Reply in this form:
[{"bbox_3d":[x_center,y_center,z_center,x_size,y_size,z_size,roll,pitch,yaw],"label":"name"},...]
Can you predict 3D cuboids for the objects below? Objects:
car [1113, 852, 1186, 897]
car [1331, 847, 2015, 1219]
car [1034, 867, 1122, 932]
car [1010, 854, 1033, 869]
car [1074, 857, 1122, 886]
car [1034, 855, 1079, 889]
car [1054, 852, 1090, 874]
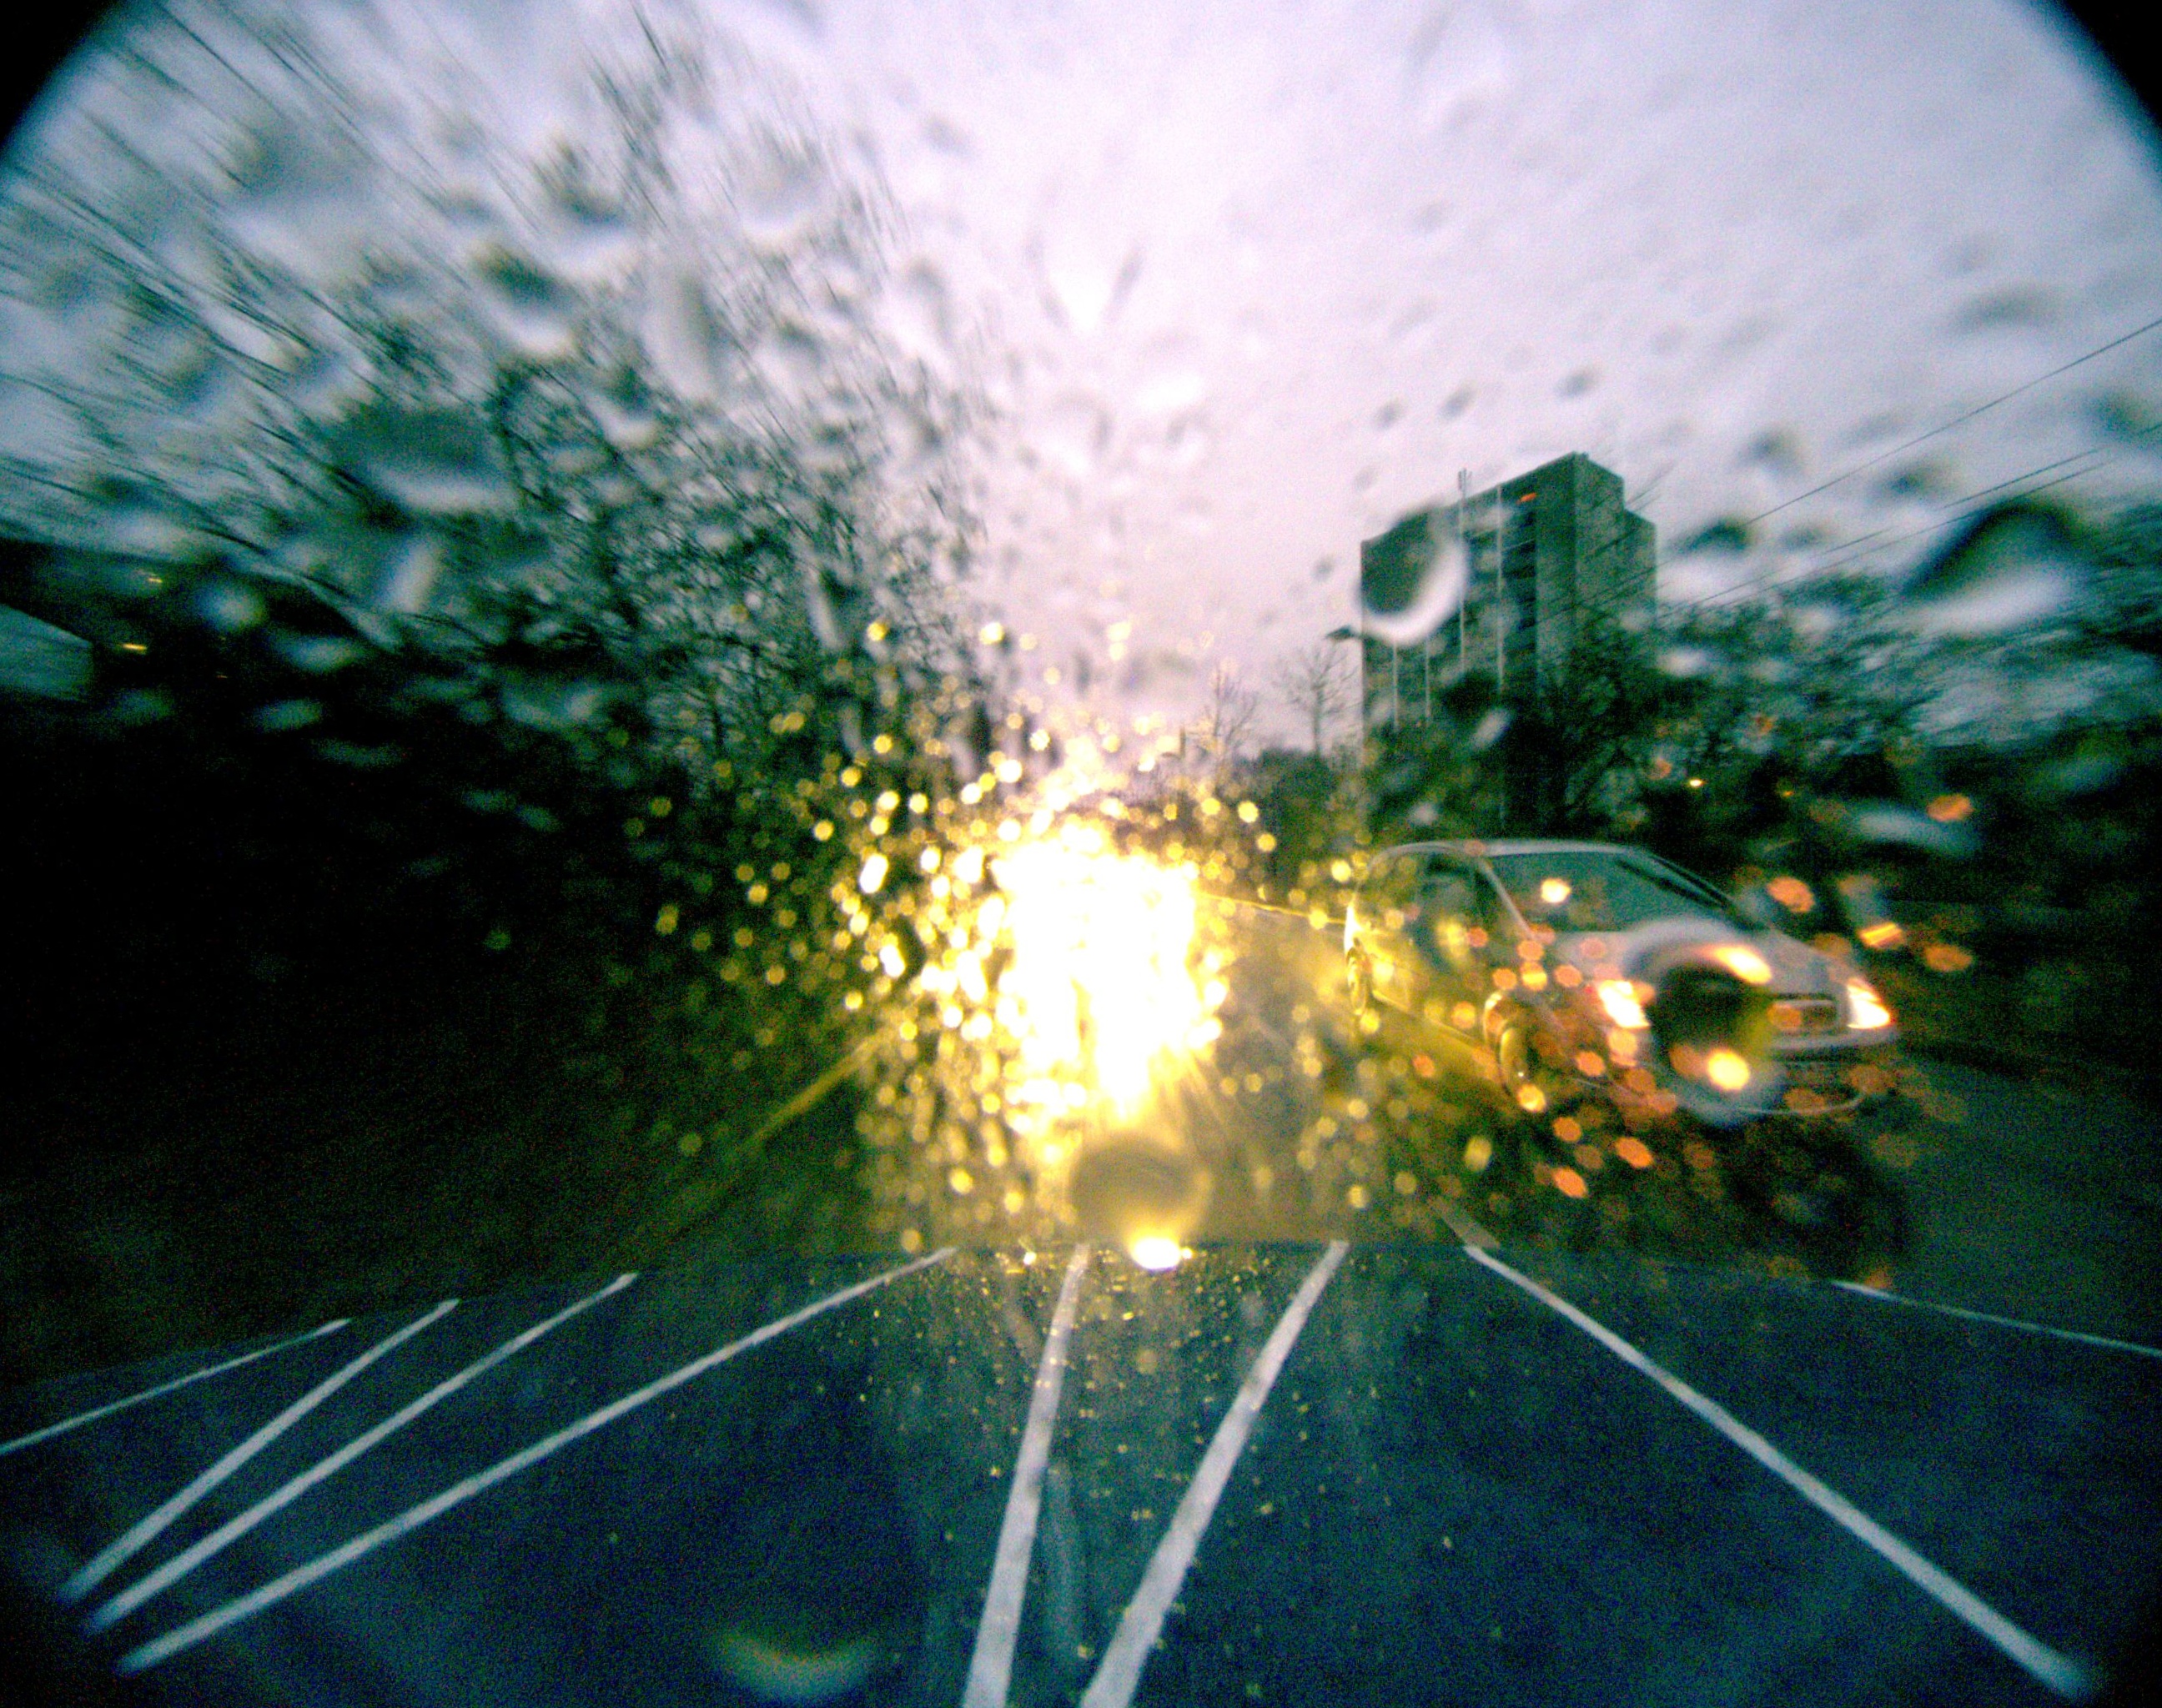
[{"bbox_3d":[2.562,0.723,29.384,1.925,1.546,4.214,-2,0,-7],"label":"car"},{"bbox_3d":[3.197,0.767,5.232,1.669,1.566,3.922,-2,0,1],"label":"car"},{"bbox_3d":[-0.155,1.010,18.507,1.897,1.347,4.288,0,0,-2],"label":"car"},{"bbox_3d":[-6.383,0.796,80.868,1.951,1.546,4.213,-2,0,-11],"label":"car"},{"bbox_3d":[0.924,0.959,43.806,1.846,1.546,4.213,-2,0,-11],"label":"car"},{"bbox_3d":[-1.272,0.836,37.801,1.950,1.546,4.215,-2,0,-5],"label":"car"},{"bbox_3d":[-0.732,0.696,59.450,1.951,1.546,4.212,-2,0,-12],"label":"car"}]
